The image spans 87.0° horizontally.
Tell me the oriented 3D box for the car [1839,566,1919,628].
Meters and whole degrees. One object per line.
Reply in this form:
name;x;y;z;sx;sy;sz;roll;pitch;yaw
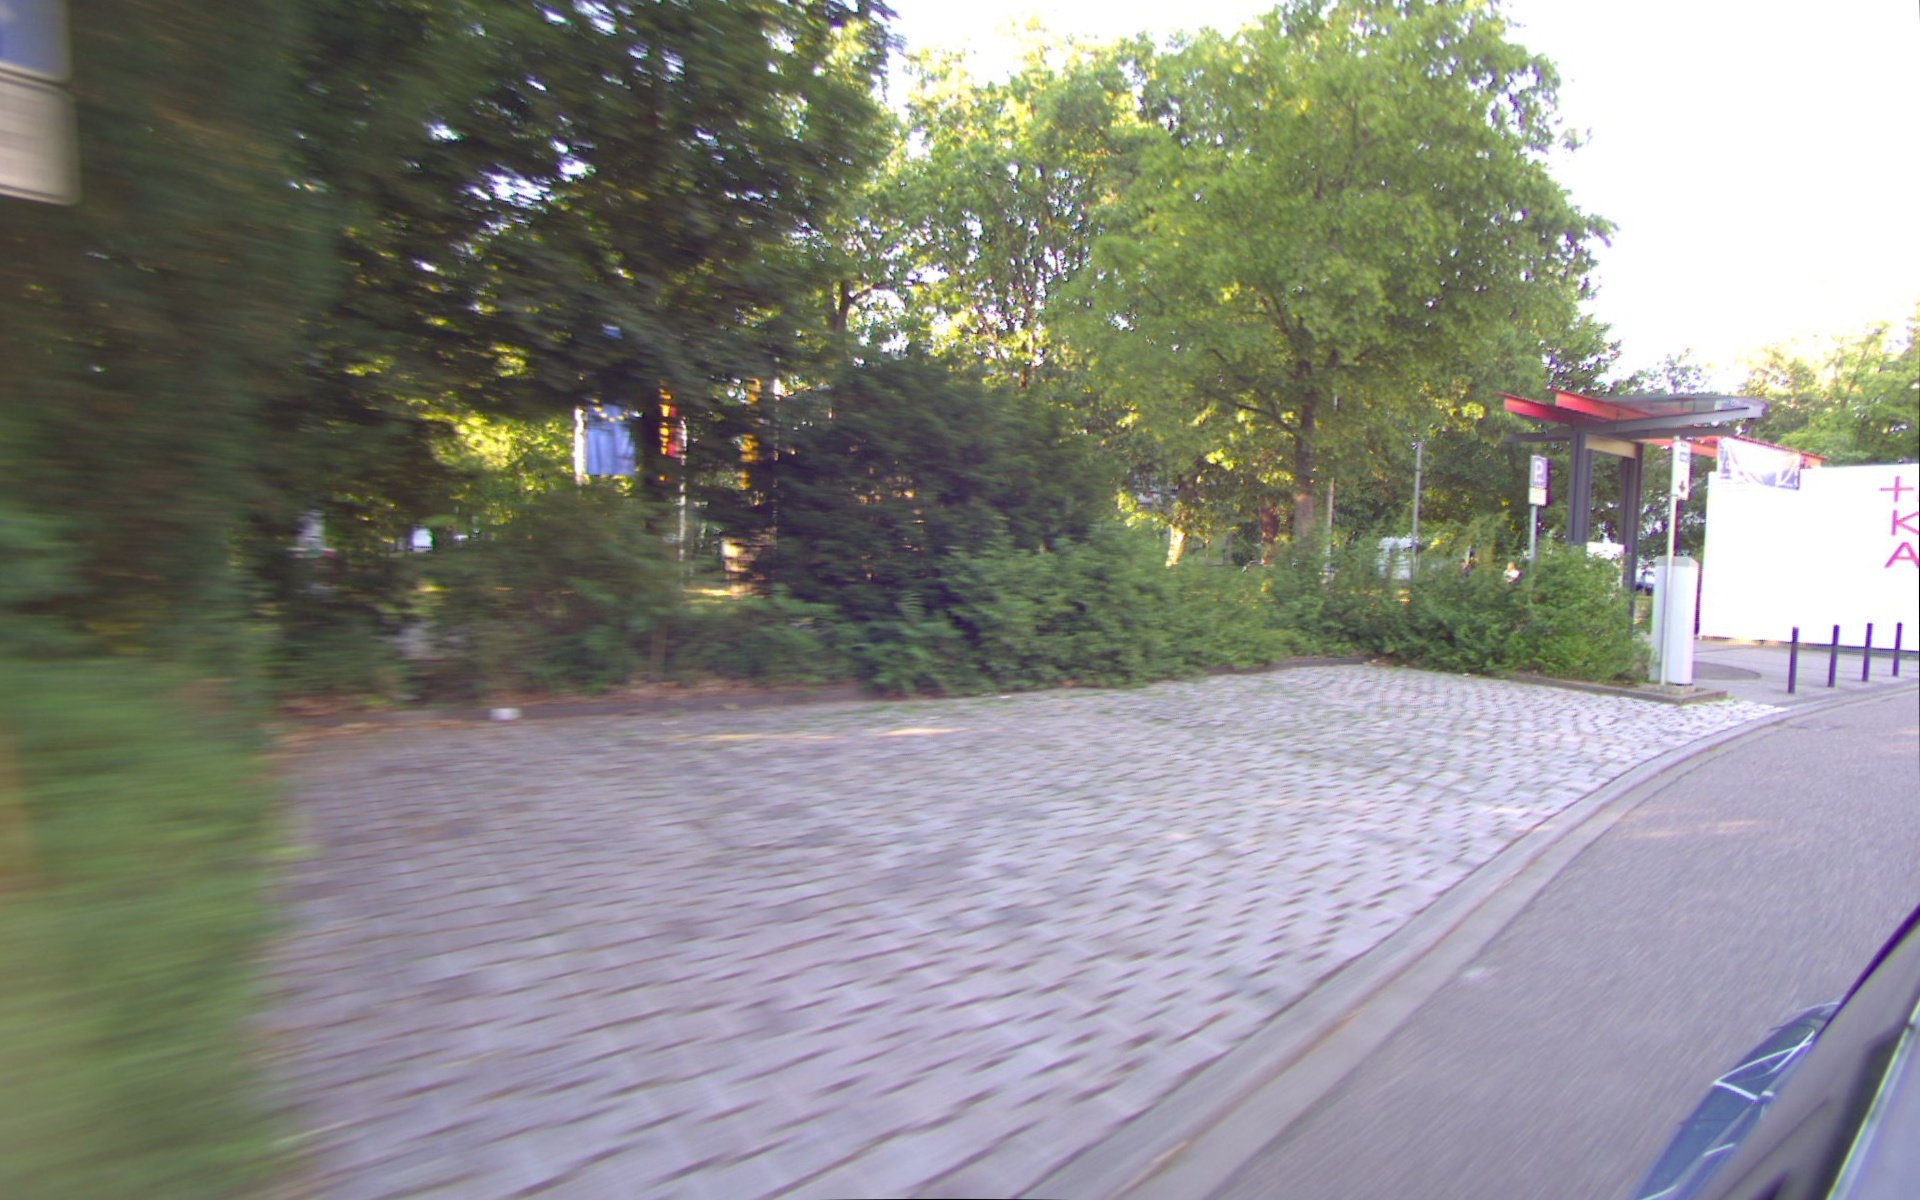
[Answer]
car;27.651;0.045;27.776;1.880;1.572;4.947;0;5;-35

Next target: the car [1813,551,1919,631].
car;25.730;-0.149;26.401;1.880;1.938;4.873;0;5;-35

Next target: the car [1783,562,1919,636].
car;23.626;0.047;24.795;1.880;1.572;4.947;0;5;-35

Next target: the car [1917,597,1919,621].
car;31.557;0.089;29.902;1.884;1.555;4.381;0;5;-35
